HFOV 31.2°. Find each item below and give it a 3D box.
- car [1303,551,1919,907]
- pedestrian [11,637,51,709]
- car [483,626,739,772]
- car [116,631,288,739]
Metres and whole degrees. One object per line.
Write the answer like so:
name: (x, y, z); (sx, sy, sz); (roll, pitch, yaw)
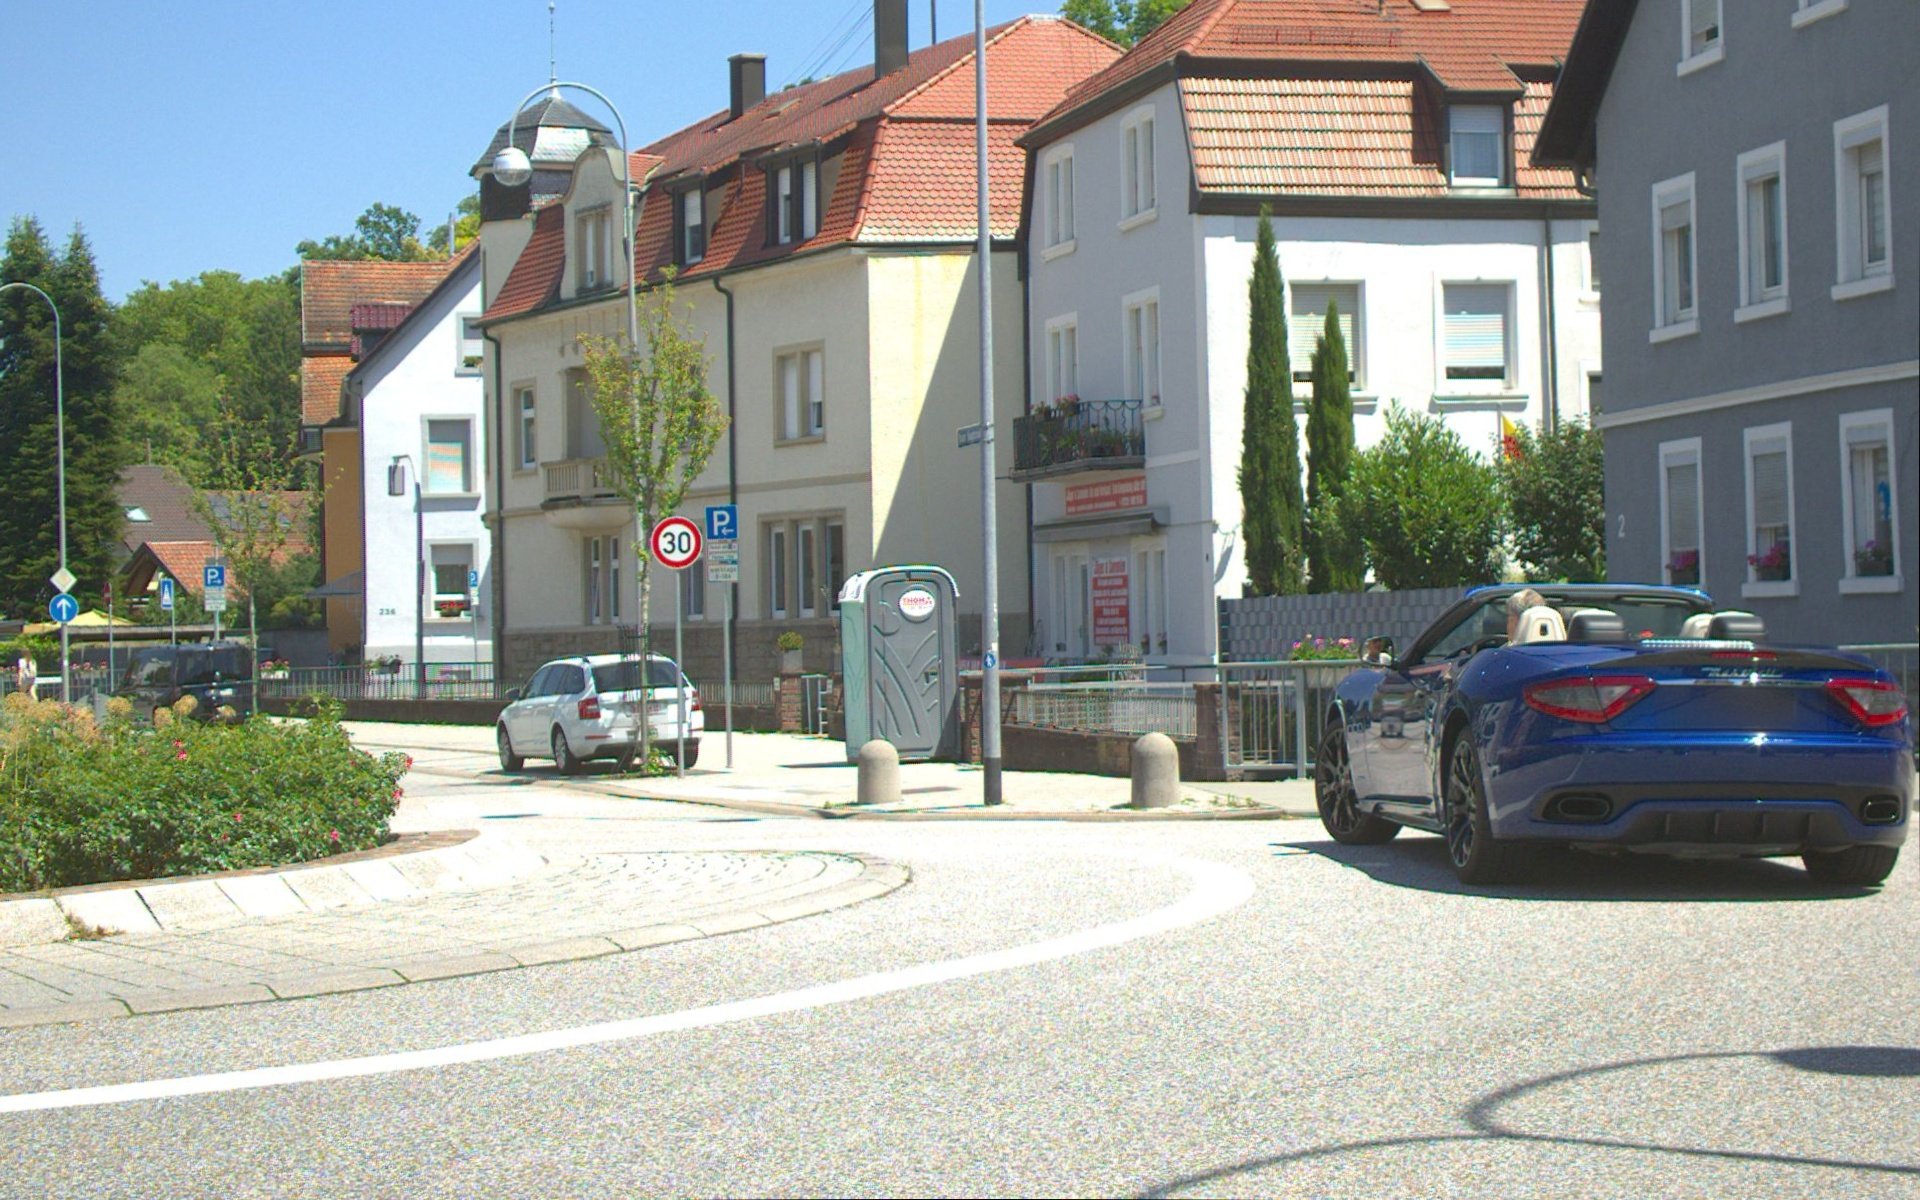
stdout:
car: (2.957, 0.538, 16.168); (1.976, 1.393, 4.627); (1, 0, -3)
pedestrian: (-23.500, 1.835, 86.931); (0.842, 1.808, 0.549); (1, 1, -31)
car: (-4.506, 1.247, 43.816); (1.993, 1.579, 4.287); (-6, 1, -22)
car: (-14.362, 1.568, 64.955); (1.993, 1.859, 4.287); (0, 1, -29)
